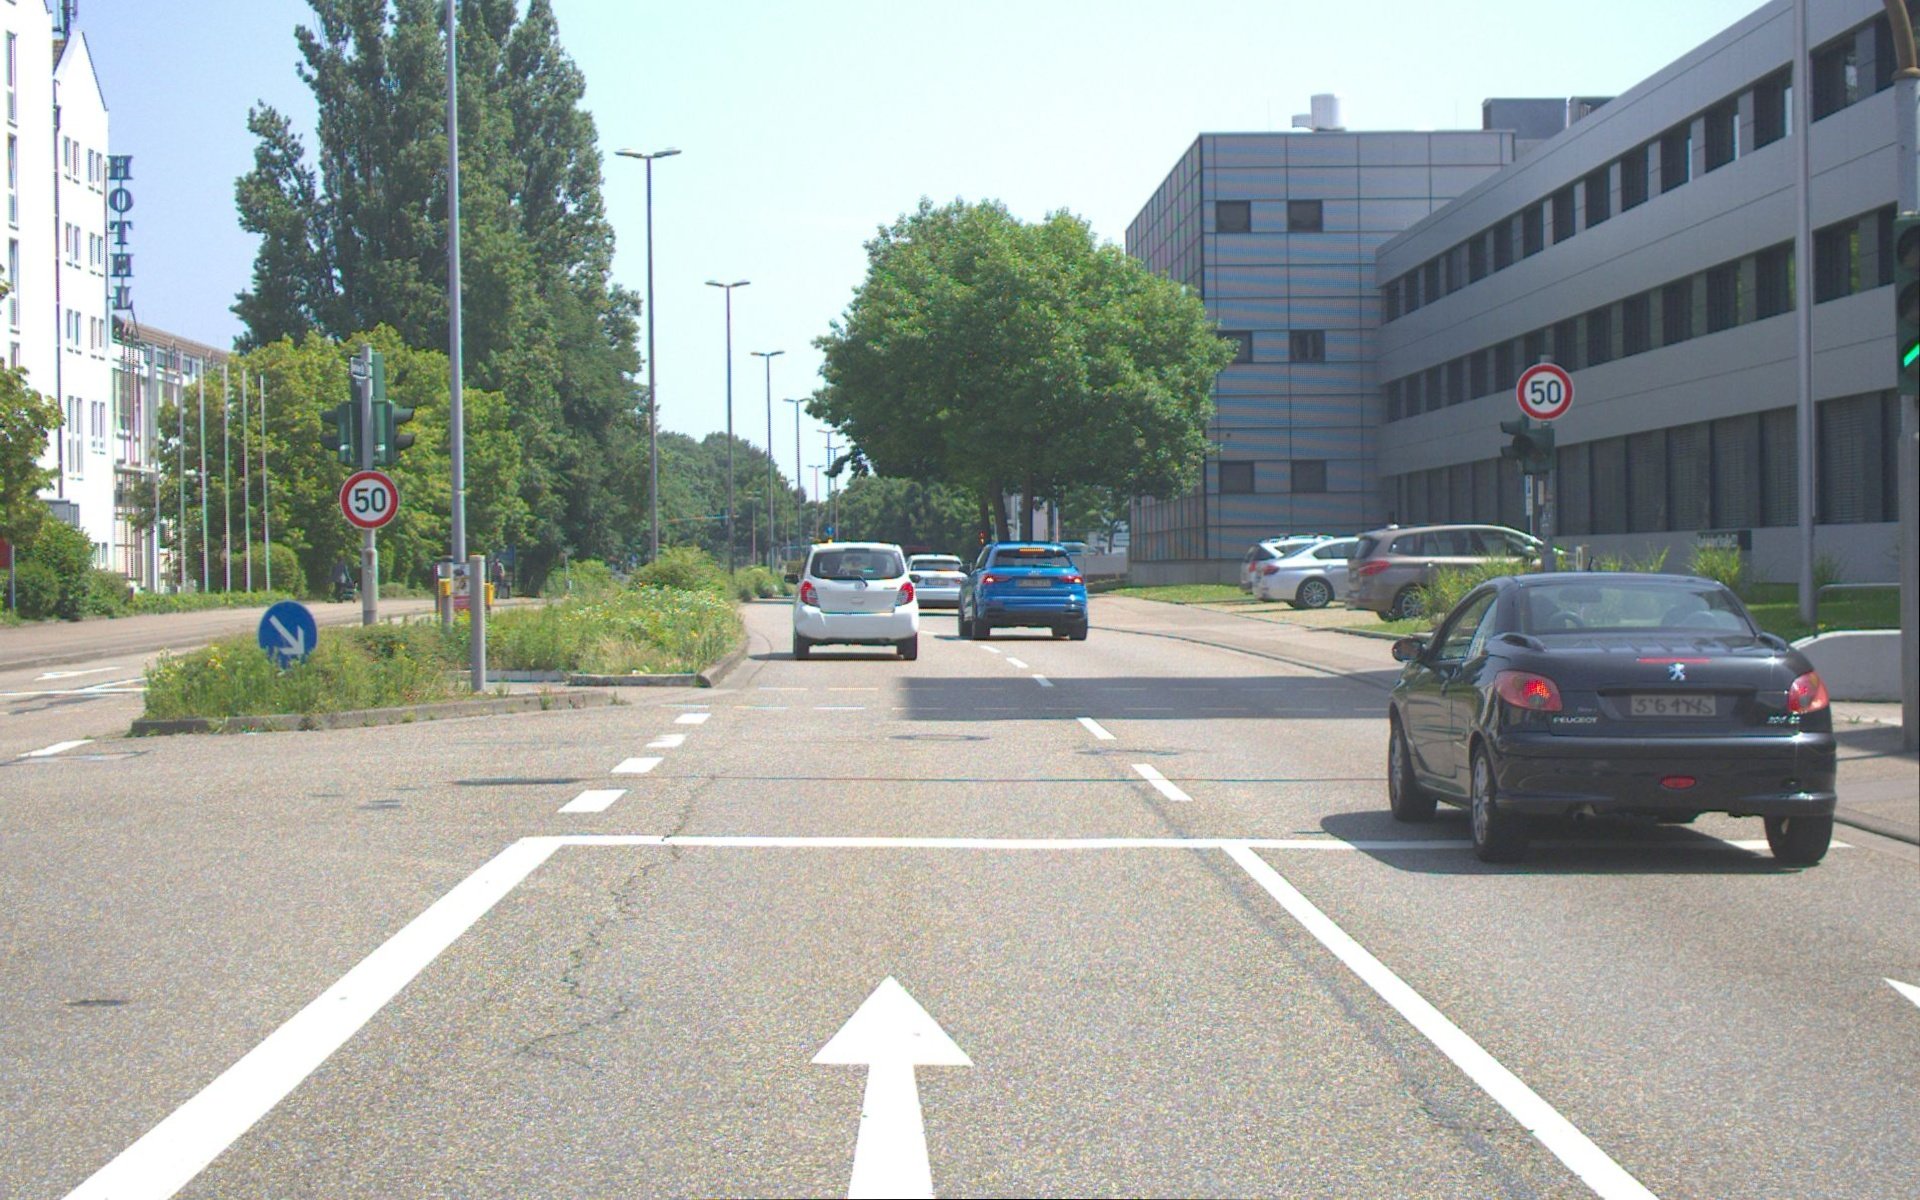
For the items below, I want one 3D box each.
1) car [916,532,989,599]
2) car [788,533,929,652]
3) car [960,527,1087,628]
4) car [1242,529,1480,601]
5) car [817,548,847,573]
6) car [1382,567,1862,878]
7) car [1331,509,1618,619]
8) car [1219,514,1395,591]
[{"bbox_3d":[-0.159,-0.828,80.323,1.559,1.515,3.605,-1,1,2],"label":"car"},{"bbox_3d":[-1.318,-0.128,45.900,1.748,1.515,3.746,0,1,0],"label":"car"},{"bbox_3d":[1.011,-0.397,56.475,1.827,1.575,3.606,-1,1,-3],"label":"car"},{"bbox_3d":[8.352,-0.735,71.899,4.612,1.385,2.000,-1,1,-5],"label":"car"},{"bbox_3d":[-8.982,-2.763,240.846,1.819,1.656,4.001,-1,1,-5],"label":"car"},{"bbox_3d":[3.202,0.534,17.279,1.627,1.359,3.606,0,1,-1],"label":"car"},{"bbox_3d":[8.380,-0.597,56.260,4.258,1.683,2.000,-1,1,-5],"label":"car"},{"bbox_3d":[8.196,-1.130,81.405,3.811,1.586,1.733,-4,1,-5],"label":"car"}]
